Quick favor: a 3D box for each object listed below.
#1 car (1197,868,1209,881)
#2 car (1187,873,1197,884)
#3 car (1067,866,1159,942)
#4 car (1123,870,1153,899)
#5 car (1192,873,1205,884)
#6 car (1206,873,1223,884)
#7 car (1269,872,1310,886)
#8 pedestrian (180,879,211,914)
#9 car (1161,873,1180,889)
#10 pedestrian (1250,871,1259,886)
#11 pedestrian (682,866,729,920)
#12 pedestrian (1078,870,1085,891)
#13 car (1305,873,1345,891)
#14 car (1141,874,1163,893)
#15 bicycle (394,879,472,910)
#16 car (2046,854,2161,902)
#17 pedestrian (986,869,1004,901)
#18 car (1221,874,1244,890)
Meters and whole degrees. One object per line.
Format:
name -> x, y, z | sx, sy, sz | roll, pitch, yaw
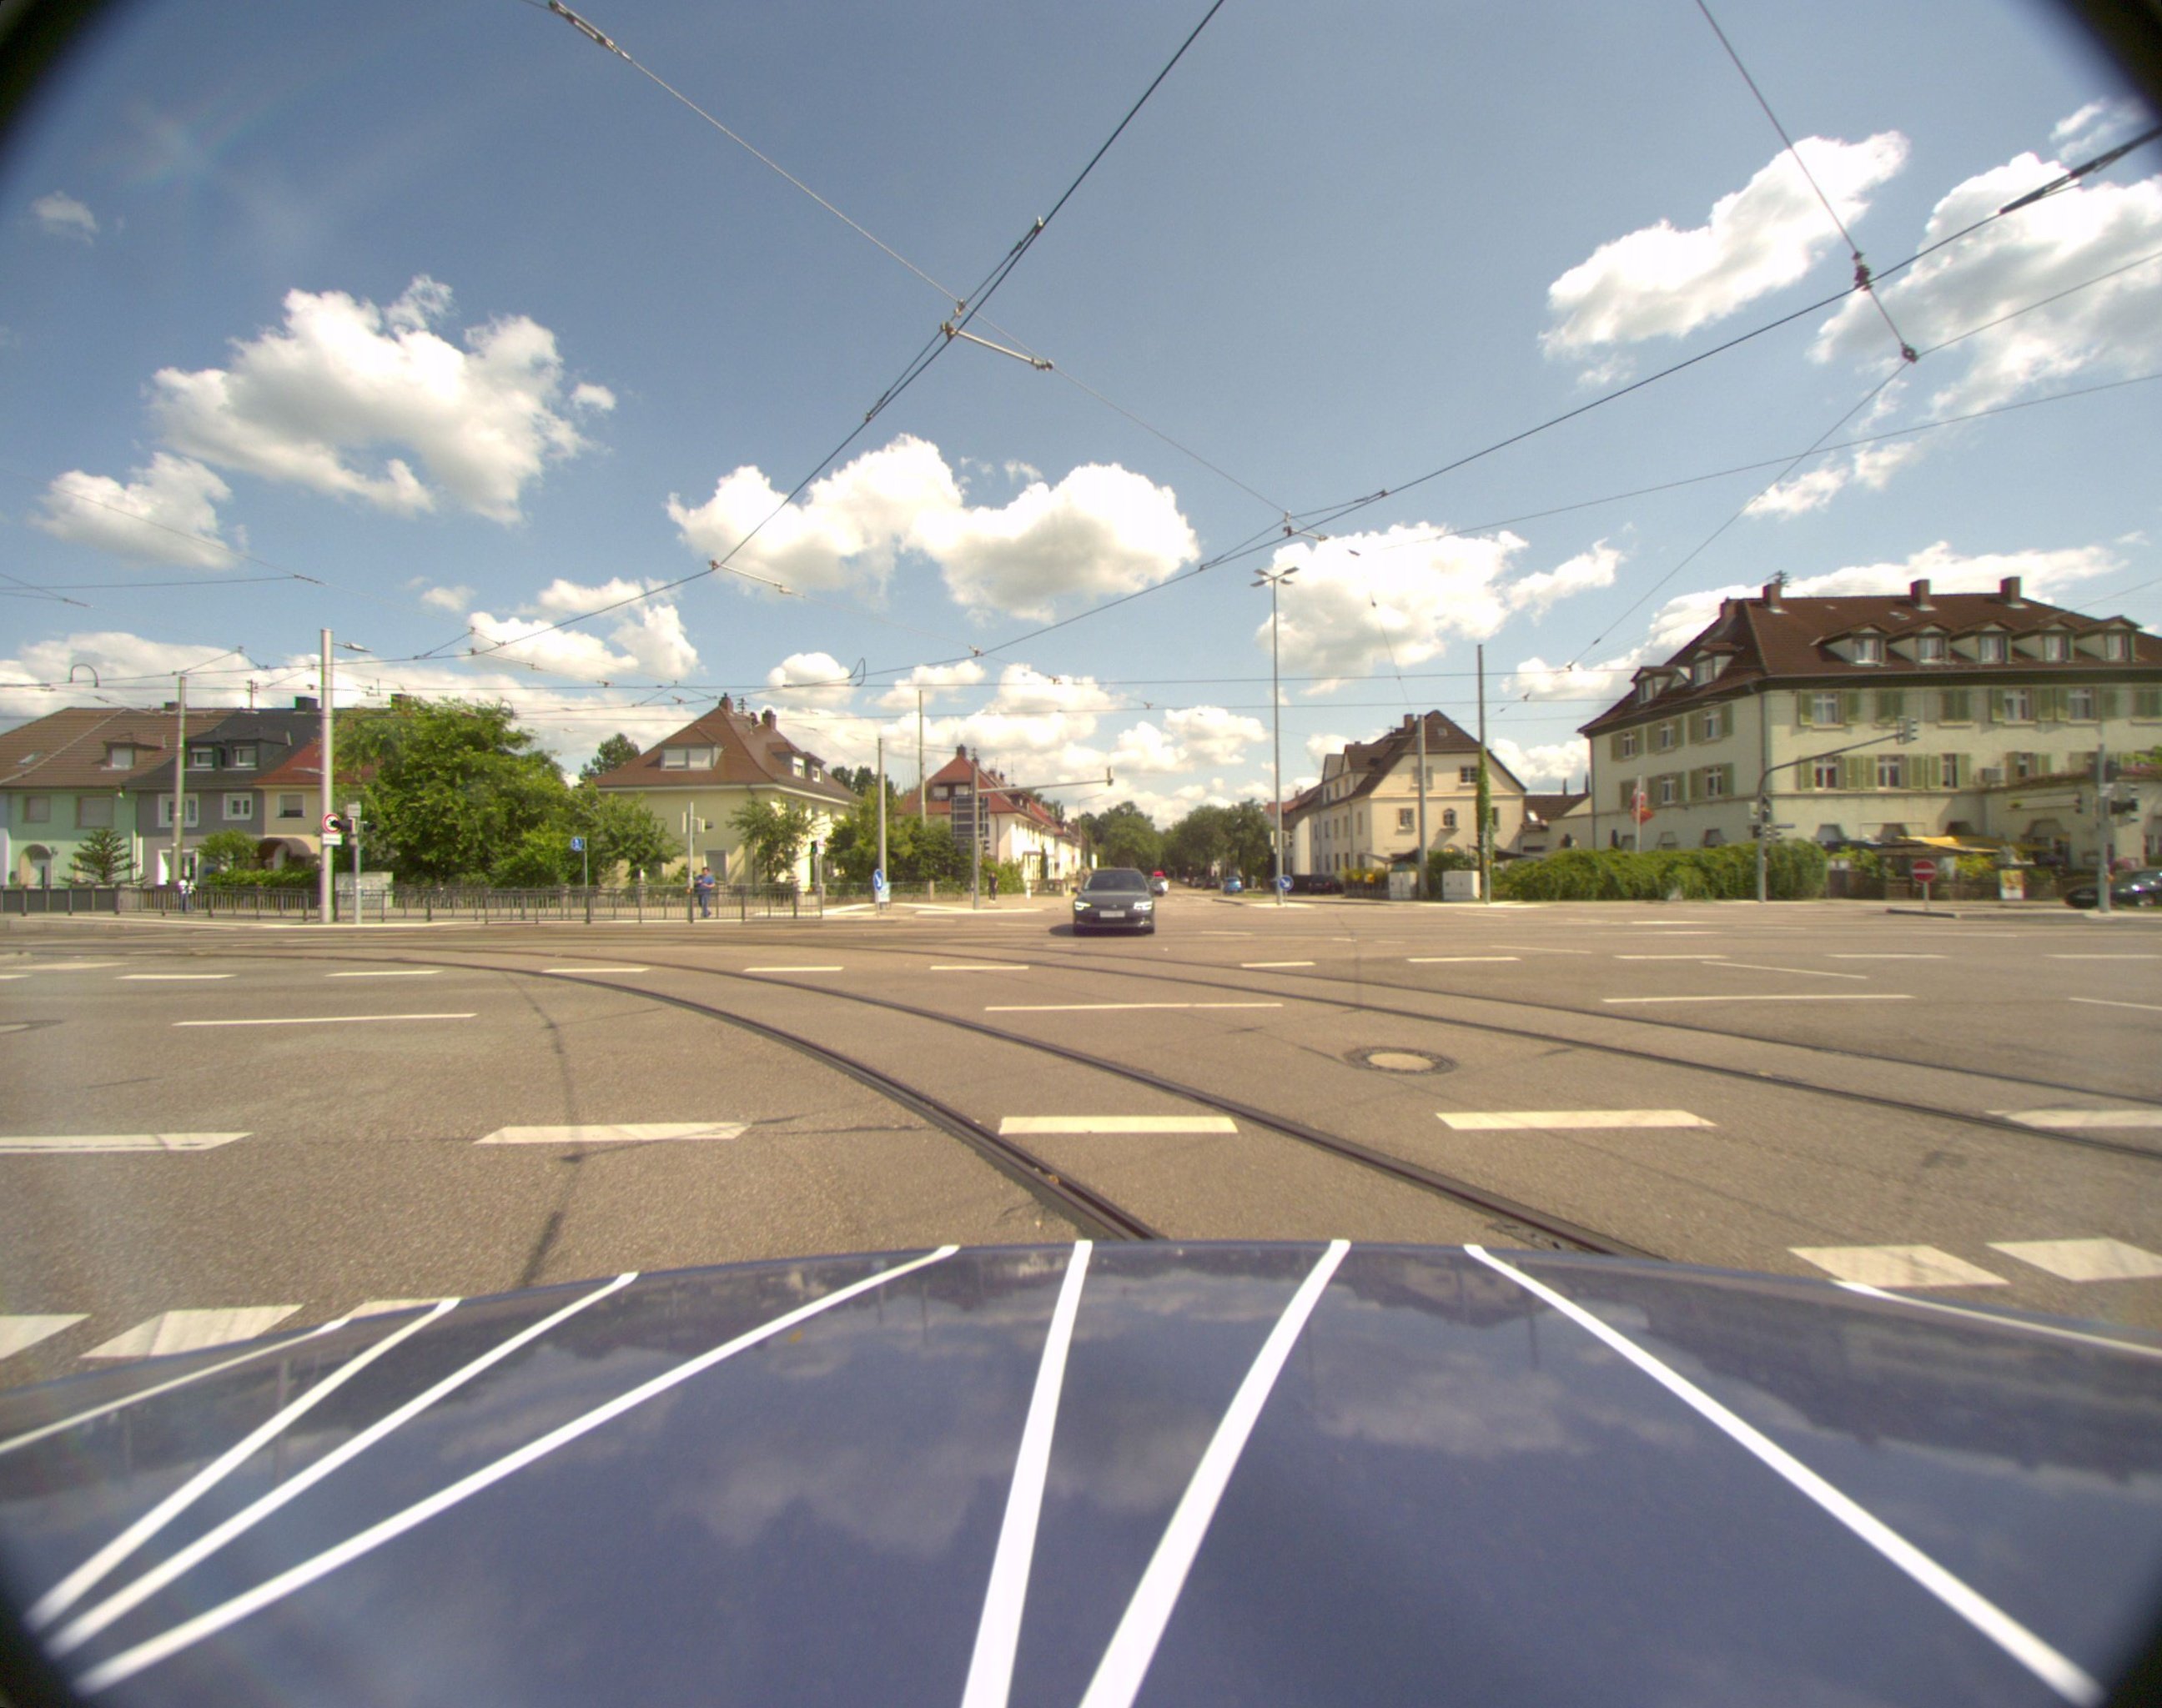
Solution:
car -> 16.199, 2.727, 100.879 | 1.561, 1.644, 3.576 | -1, -1, 8
car -> 16.932, 3.661, 116.029 | 1.561, 1.644, 3.254 | -1, -1, 8
car -> 0.729, 1.033, 17.179 | 1.766, 1.465, 4.689 | 0, -1, 3
car -> 3.707, 1.926, 49.275 | 1.775, 1.753, 4.876 | -1, -1, 5
car -> 16.574, 3.423, 106.989 | 1.623, 1.416, 3.004 | -1, -1, 10
car -> 15.261, 2.805, 87.124 | 1.708, 1.288, 3.921 | -1, -1, 8
car -> 21.324, 2.567, 77.768 | 3.803, 1.445, 1.712 | -1, -1, 8
pedestrian -> -37.610, 1.796, 32.285 | 0.514, 1.423, 0.688 | -1, -1, 12
car -> 8.453, 2.526, 71.748 | 1.709, 1.453, 3.157 | -1, -1, 5
pedestrian -> 18.092, 2.550, 79.312 | 0.633, 1.526, 0.617 | 0, -1, -20
pedestrian -> -12.282, 1.269, 24.900 | 1.032, 1.724, 1.041 | 0, -1, 1
pedestrian -> 0.068, 2.218, 63.980 | 0.518, 1.701, 0.618 | -1, -1, 6
car -> 18.751, 2.130, 58.291 | 1.757, 1.378, 4.111 | -1, -2, 34
car -> 5.624, 2.348, 60.394 | 1.709, 1.453, 3.156 | -1, -1, 4
bicycle -> -28.696, 1.776, 33.676 | 2.801, 1.326, 0.623 | 0, -1, -3
car -> 36.310, 0.816, 26.161 | 3.922, 1.574, 1.748 | 0, -1, 0
pedestrian -> -4.837, 1.737, 42.771 | 0.591, 1.757, 0.939 | 0, -1, 28
car -> 13.787, 2.542, 69.269 | 1.709, 1.453, 3.156 | -1, -1, 4
